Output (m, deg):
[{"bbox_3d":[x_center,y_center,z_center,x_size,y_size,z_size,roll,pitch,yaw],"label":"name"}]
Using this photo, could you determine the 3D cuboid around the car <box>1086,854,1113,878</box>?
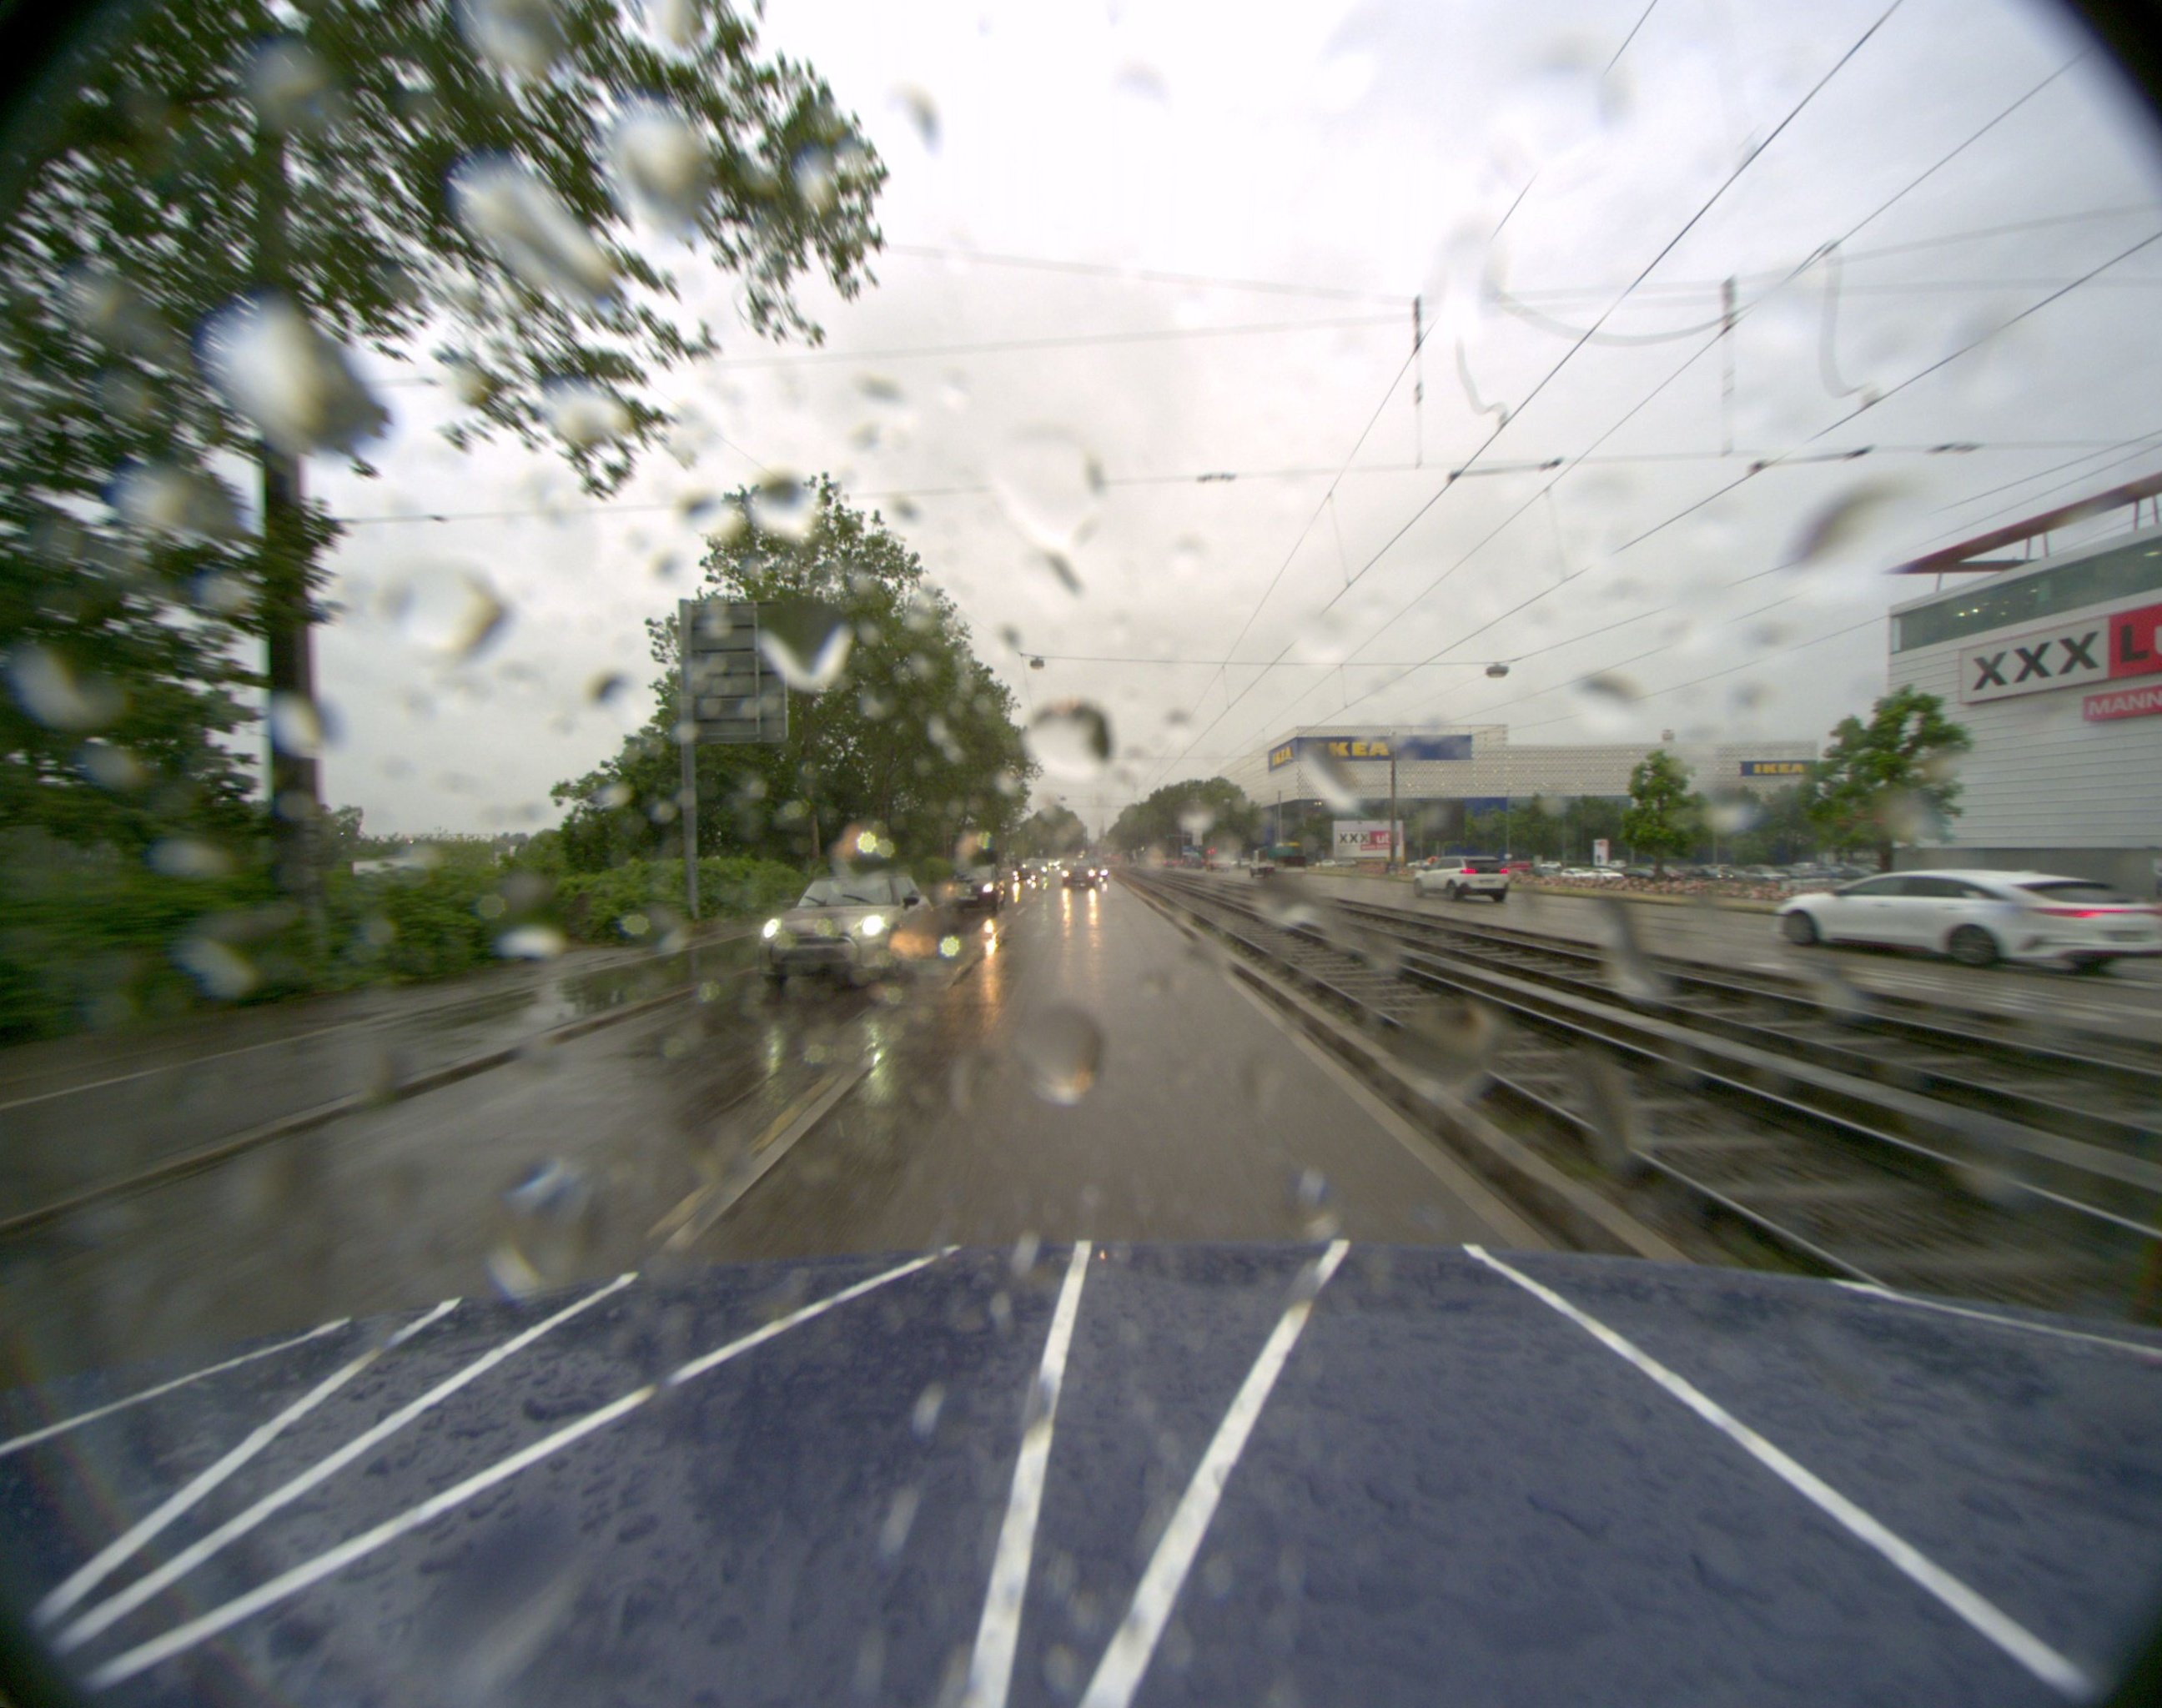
[{"bbox_3d":[1.209,0.814,51.648,1.715,1.515,4.043,-3,-1,0],"label":"car"}]

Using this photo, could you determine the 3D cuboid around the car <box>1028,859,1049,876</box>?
[{"bbox_3d":[-3.943,1.275,71.250,1.715,1.515,4.043,-3,-1,0],"label":"car"}]

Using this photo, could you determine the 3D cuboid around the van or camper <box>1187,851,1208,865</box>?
[{"bbox_3d":[16.425,0.546,107.698,2.310,2.002,5.686,0,0,2],"label":"van or camper"}]

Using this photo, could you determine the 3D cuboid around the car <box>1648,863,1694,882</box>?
[{"bbox_3d":[67.229,2.085,86.663,1.999,2.002,3.999,-2,1,-2],"label":"car"}]

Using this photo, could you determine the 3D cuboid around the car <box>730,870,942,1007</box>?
[{"bbox_3d":[-3.225,1.026,10.848,1.796,1.406,3.853,-2,1,-1],"label":"car"}]

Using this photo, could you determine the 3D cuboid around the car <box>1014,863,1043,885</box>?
[{"bbox_3d":[-3.764,1.401,54.580,1.715,1.476,4.043,-3,-1,0],"label":"car"}]

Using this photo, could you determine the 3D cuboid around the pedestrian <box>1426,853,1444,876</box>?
[{"bbox_3d":[28.164,0.844,60.459,0.824,1.752,1.050,-4,1,3],"label":"pedestrian"}]

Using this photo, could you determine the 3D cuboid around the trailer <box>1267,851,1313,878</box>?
[{"bbox_3d":[14.901,0.698,54.339,2.124,1.782,3.836,-3,0,0],"label":"trailer"}]

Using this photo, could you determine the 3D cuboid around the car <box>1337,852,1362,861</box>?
[{"bbox_3d":[51.424,0.526,145.517,4.106,1.594,2.000,-2,1,1],"label":"car"}]

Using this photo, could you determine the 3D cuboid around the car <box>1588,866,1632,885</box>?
[{"bbox_3d":[60.260,2.420,86.601,1.999,2.002,4.090,-3,0,-2],"label":"car"}]

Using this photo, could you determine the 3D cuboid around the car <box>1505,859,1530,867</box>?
[{"bbox_3d":[86.049,1.804,149.869,3.982,1.399,1.602,-2,1,3],"label":"car"}]

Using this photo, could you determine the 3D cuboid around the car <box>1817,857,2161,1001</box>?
[{"bbox_3d":[13.816,0.909,10.993,1.776,1.673,4.688,0,0,0],"label":"car"}]

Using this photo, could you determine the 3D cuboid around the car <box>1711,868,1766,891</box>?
[{"bbox_3d":[65.764,2.498,76.066,1.999,2.002,3.999,-2,1,-2],"label":"car"}]

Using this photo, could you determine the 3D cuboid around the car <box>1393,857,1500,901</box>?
[{"bbox_3d":[14.186,0.906,29.844,1.998,1.574,4.766,0,0,2],"label":"car"}]

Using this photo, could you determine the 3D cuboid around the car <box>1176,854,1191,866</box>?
[{"bbox_3d":[16.098,0.924,119.382,1.862,1.608,4.908,1,1,2],"label":"car"}]

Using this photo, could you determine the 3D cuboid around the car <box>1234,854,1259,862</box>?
[{"bbox_3d":[32.283,0.806,148.238,4.459,1.531,1.820,-2,-1,2],"label":"car"}]

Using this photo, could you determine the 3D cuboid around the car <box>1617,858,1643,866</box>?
[{"bbox_3d":[107.145,1.506,148.376,3.821,1.399,1.602,-2,1,3],"label":"car"}]

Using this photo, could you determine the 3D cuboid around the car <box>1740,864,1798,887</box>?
[{"bbox_3d":[68.446,2.106,75.670,1.999,2.002,3.999,-2,1,-2],"label":"car"}]

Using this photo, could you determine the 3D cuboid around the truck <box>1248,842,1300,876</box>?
[{"bbox_3d":[15.114,0.356,59.891,2.441,2.443,7.219,0,0,2],"label":"truck"}]

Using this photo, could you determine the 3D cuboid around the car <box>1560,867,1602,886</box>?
[{"bbox_3d":[57.155,2.550,86.951,1.999,2.002,4.090,-3,0,-2],"label":"car"}]

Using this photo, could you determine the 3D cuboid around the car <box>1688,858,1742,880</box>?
[{"bbox_3d":[63.279,1.509,75.929,1.999,2.002,3.999,-2,1,-2],"label":"car"}]

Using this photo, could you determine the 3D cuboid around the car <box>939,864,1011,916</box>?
[{"bbox_3d":[-3.308,1.083,24.460,1.776,1.453,4.092,-3,-1,-1],"label":"car"}]

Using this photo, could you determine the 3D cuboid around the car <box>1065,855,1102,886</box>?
[{"bbox_3d":[0.117,0.918,42.547,1.876,1.573,4.043,-3,-1,-1],"label":"car"}]

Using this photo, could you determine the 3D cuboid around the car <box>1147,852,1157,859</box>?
[{"bbox_3d":[16.321,0.416,174.297,1.877,1.564,4.329,-3,-1,2],"label":"car"}]

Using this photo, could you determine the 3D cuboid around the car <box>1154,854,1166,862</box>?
[{"bbox_3d":[14.866,0.679,142.627,1.863,1.485,4.689,0,1,0],"label":"car"}]

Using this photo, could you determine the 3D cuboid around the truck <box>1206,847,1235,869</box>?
[{"bbox_3d":[16.048,0.440,87.734,2.232,2.447,6.066,1,0,1],"label":"truck"}]

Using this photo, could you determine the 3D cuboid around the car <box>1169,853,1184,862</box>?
[{"bbox_3d":[16.793,0.681,133.831,1.968,1.507,4.554,1,1,1],"label":"car"}]

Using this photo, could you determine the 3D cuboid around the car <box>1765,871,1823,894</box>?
[{"bbox_3d":[71.368,2.841,76.135,1.999,2.002,3.999,-2,1,-2],"label":"car"}]

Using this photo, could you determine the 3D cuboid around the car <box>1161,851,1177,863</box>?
[{"bbox_3d":[12.668,0.456,109.280,1.823,1.613,4.536,-1,0,1],"label":"car"}]
